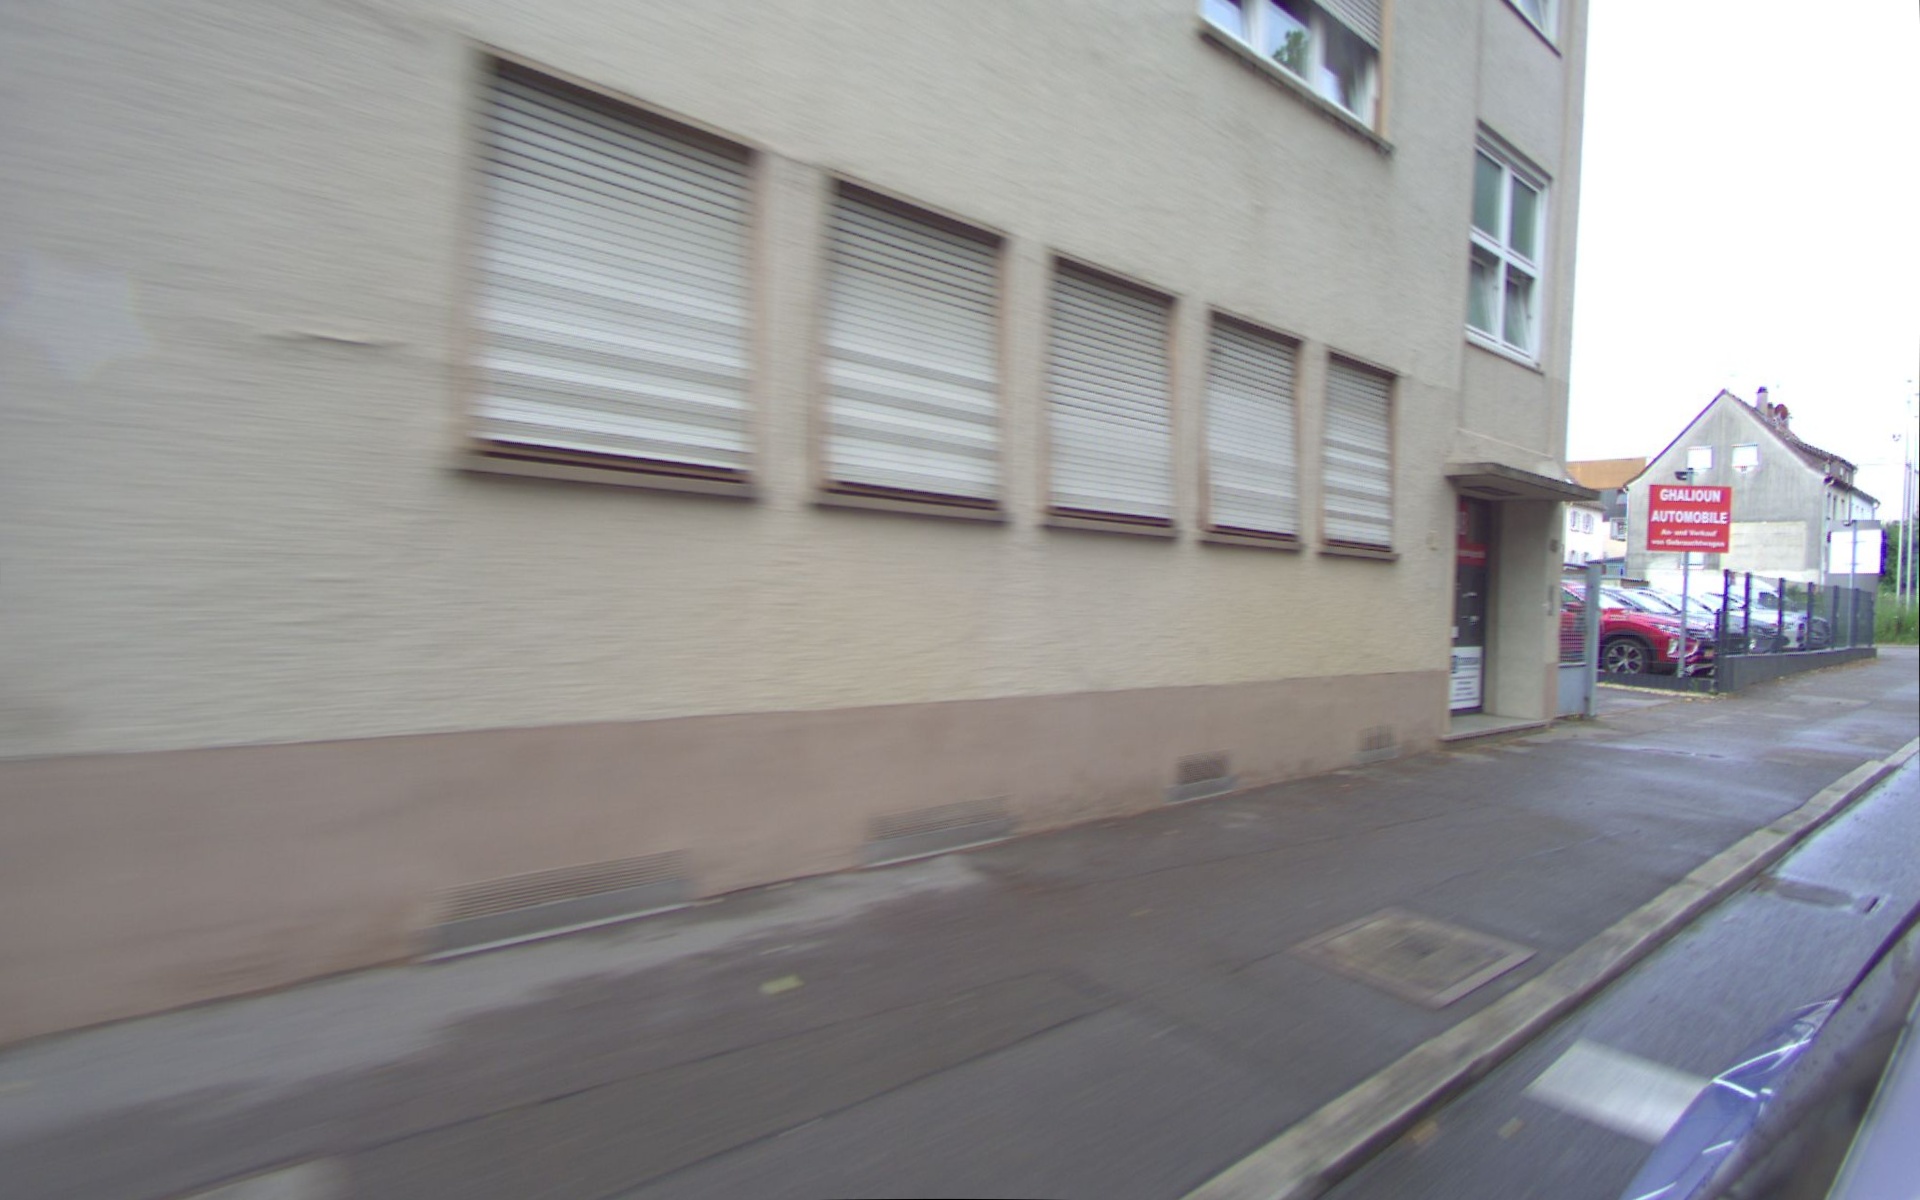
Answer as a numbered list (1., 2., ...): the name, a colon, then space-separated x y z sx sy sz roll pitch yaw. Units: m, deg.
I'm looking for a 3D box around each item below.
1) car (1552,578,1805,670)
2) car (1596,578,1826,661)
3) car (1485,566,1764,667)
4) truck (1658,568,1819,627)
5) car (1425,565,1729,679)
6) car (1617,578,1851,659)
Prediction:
1. car: 15.174 0.448 21.552 1.837 1.758 4.074 -1 1 -40
2. car: 17.161 0.396 23.277 1.760 1.746 3.956 -1 0 -40
3. car: 12.907 0.270 19.870 1.837 1.758 4.236 -1 1 -40
4. truck: 37.391 -0.143 48.788 2.008 2.670 5.855 -1 1 -40
5. car: 10.785 0.321 17.942 1.837 1.758 4.236 -1 1 -40
6. car: 19.104 0.389 25.126 1.965 1.790 4.311 -1 1 -40
